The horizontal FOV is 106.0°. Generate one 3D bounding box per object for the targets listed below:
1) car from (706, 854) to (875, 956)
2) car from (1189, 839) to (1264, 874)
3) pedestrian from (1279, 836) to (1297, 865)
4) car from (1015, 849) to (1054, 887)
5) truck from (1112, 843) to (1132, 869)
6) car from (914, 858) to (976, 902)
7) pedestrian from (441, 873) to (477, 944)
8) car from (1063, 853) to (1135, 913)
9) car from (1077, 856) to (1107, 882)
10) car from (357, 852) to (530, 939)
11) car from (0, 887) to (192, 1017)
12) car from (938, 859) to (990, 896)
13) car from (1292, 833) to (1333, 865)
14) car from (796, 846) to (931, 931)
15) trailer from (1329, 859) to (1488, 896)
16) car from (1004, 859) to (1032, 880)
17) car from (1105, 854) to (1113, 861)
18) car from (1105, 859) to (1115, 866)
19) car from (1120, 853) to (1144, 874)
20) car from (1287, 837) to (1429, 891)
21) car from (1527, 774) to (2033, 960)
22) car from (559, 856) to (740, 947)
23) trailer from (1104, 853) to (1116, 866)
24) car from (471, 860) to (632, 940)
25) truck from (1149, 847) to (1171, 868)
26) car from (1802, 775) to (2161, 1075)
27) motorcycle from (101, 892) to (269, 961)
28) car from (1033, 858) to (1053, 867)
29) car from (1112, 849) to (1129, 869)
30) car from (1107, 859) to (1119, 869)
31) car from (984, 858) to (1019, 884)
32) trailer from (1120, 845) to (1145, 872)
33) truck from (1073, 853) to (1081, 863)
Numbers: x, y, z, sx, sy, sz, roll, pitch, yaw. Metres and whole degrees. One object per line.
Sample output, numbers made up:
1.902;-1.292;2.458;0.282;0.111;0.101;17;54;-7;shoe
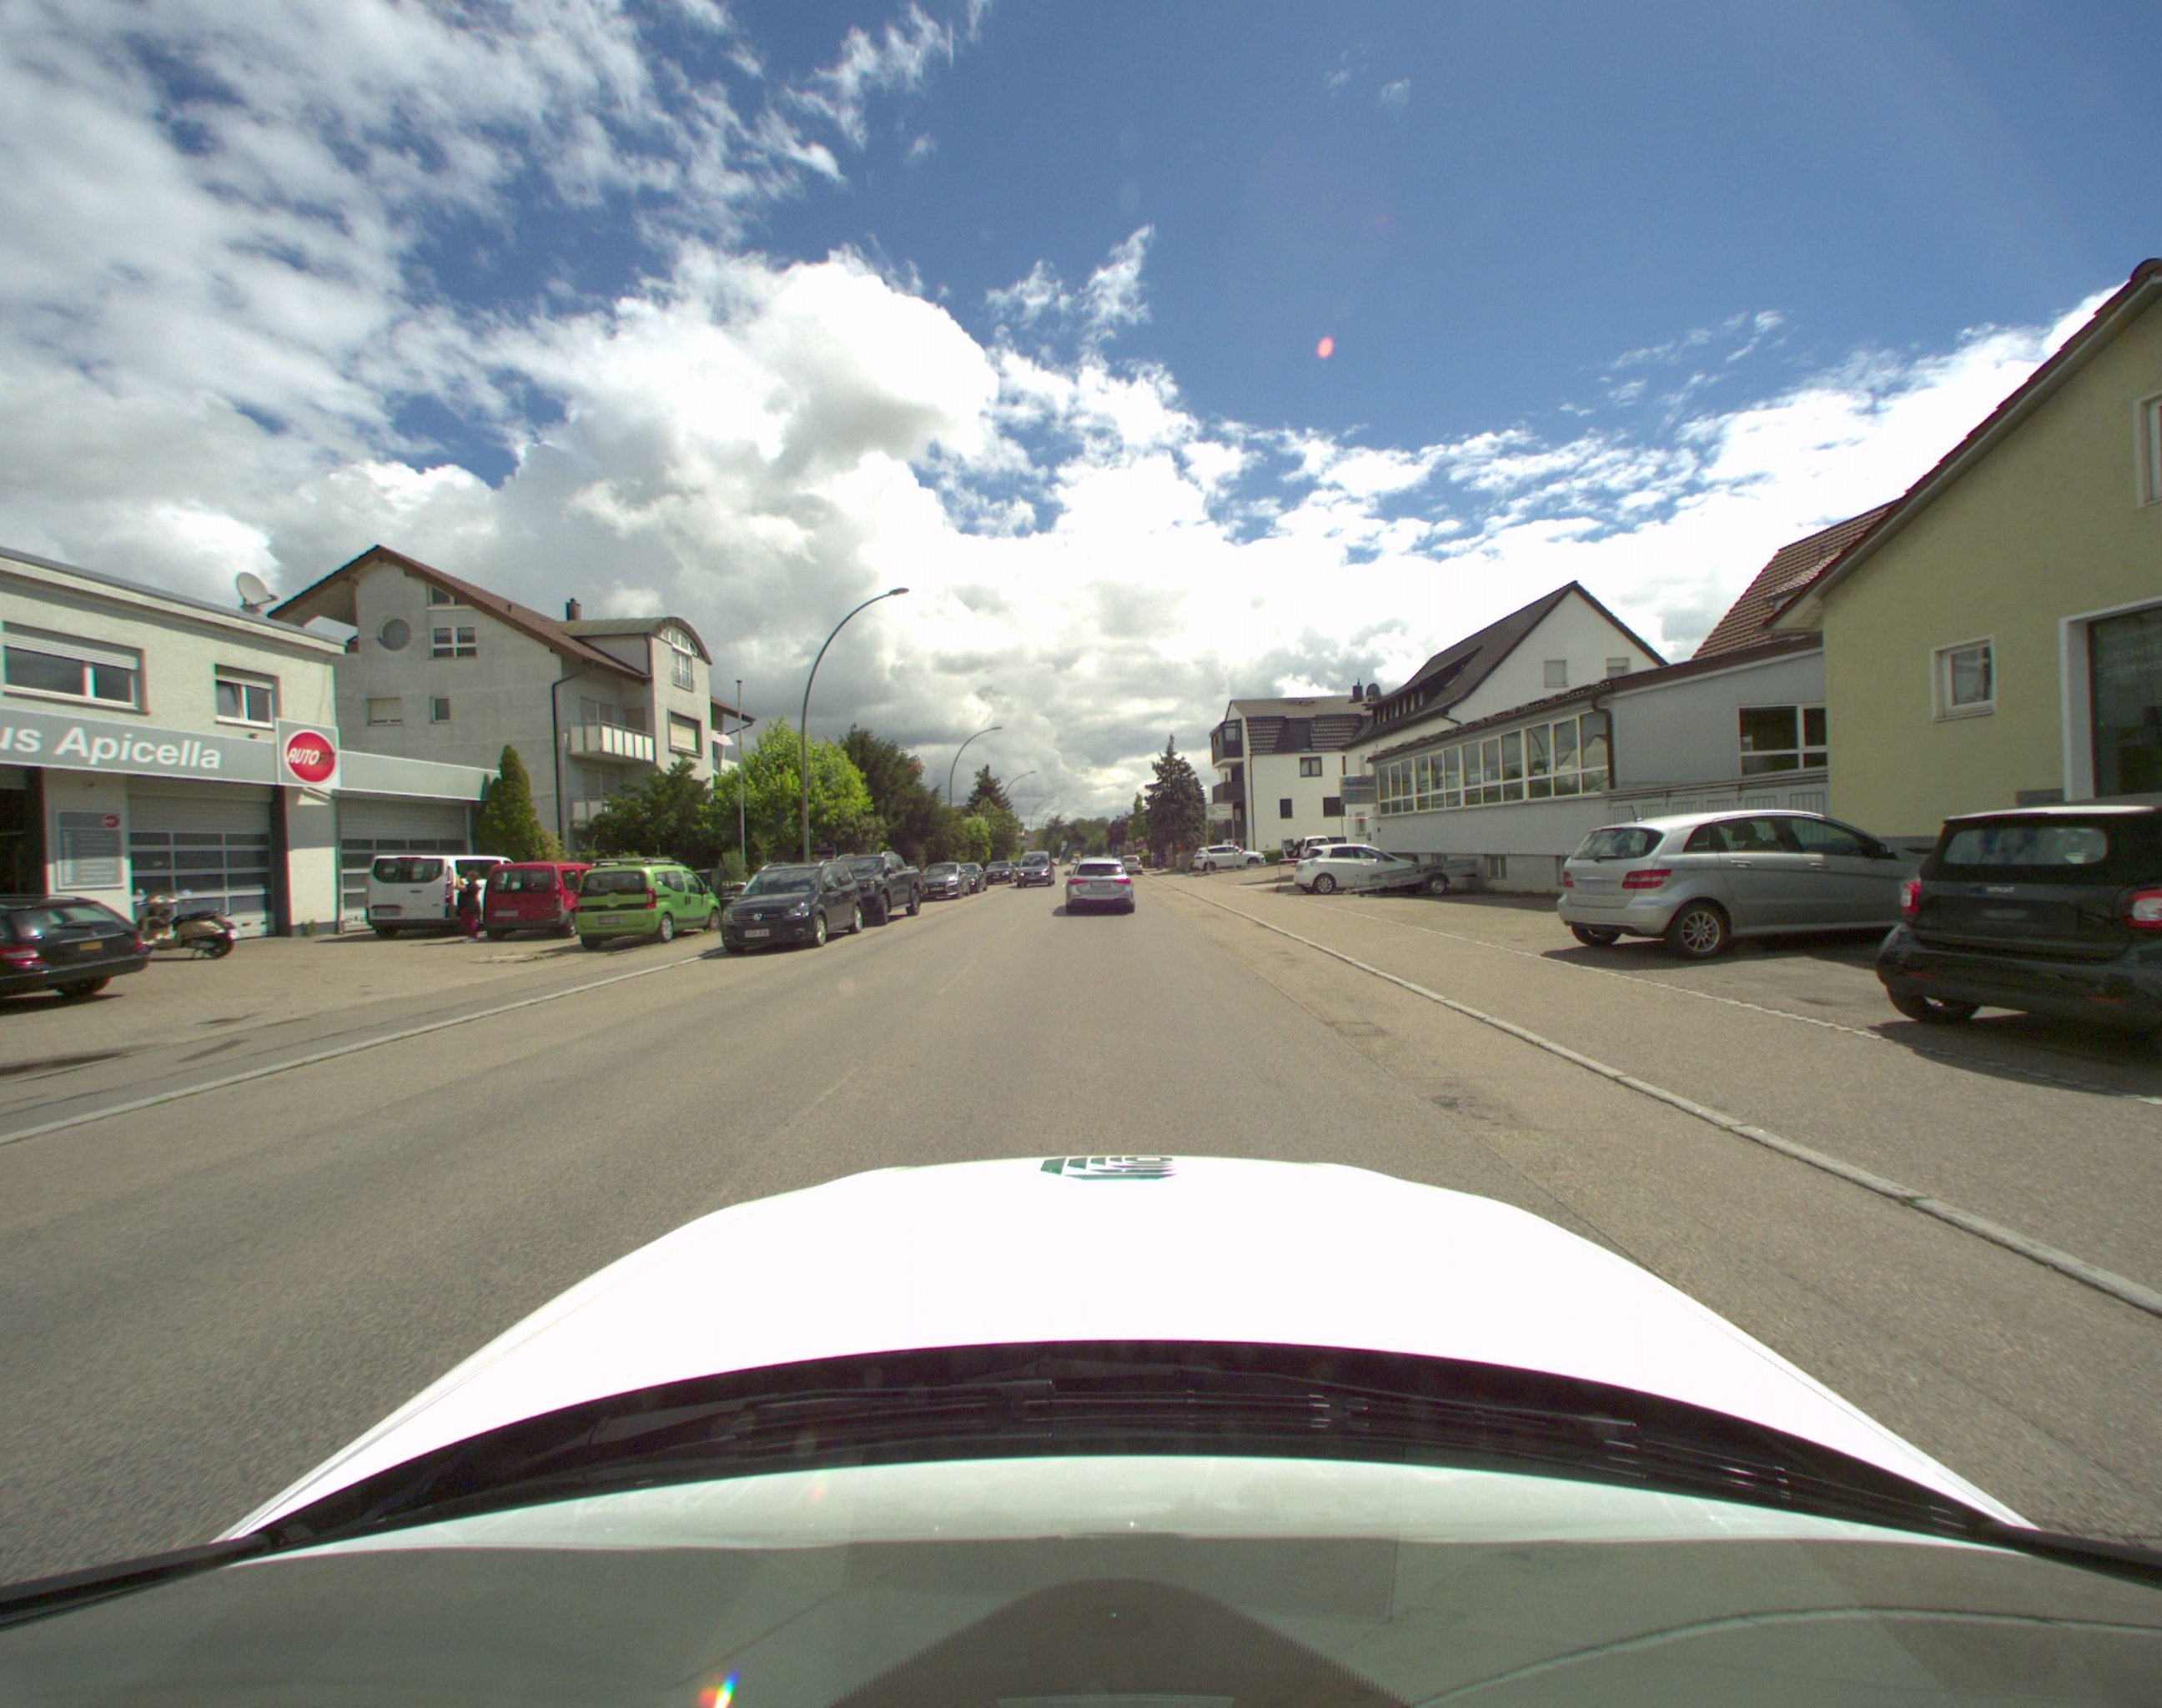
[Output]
-5.694;0.901;16.632;1.657;1.680;4.527;-4;0;1;car
8.816;0.137;49.588;4.178;1.654;1.867;-6;0;0;car
11.473;-0.190;45.229;0.760;1.528;0.782;-5;-1;6;pedestrian
-2.395;0.678;42.660;1.657;1.796;4.337;-3;0;0;car
4.982;0.229;99.584;2.312;3.097;6.044;-1;0;1;truck
-5.475;0.999;33.235;1.657;1.511;3.945;-5;0;1;car
-13.774;1.197;18.052;0.411;1.558;0.493;0;0;0;pedestrian
0.432;0.735;22.575;1.779;1.484;4.315;-1;0;-1;car
0.692;0.927;51.653;1.750;1.558;4.000;-2;0;0;car
-16.300;1.020;21.132;1.878;1.980;4.317;-1;-1;-14;car
-15.435;1.331;11.001;4.390;1.492;1.973;-2;1;-4;car
-5.378;1.051;37.935;1.657;1.435;4.339;-5;0;1;car
12.657;-0.284;44.699;1.622;1.518;3.673;-6;1;8;car
-5.632;0.804;21.937;1.904;1.821;5.430;-6;0;1;car
9.176;0.638;23.003;3.805;0.808;1.656;-3;0;-1;trailer
-4.658;1.125;60.921;1.714;1.432;4.198;-4;0;-1;car
8.456;1.089;246.161;2.136;1.984;5.263;-3;0;2;car
6.660;1.914;187.371;1.787;1.450;4.361;-3;0;-1;car
3.925;0.734;63.206;1.712;1.432;3.987;-4;0;3;car
8.679;0.315;25.757;3.887;1.608;1.749;-1;0;-1;car
8.138;0.128;9.804;4.396;1.608;1.973;-5;0;-3;car
-9.650;0.968;18.662;1.786;1.785;4.338;-2;0;0;car
5.441;0.982;151.329;1.935;2.294;4.445;-3;-1;0;trailer
-13.170;1.077;20.618;1.792;1.785;4.323;0;-1;-10;car
8.971;0.316;92.401;1.823;2.081;5.386;-5;1;0;truck
7.049;0.279;5.310;2.881;1.525;1.973;-5;0;-2;car
-17.042;1.355;15.530;2.192;1.229;0.846;0;0;-2;motorcycle
-8.771;1.930;187.797;4.615;1.632;2.196;-5;0;-3;car
4.562;0.584;93.999;1.866;2.169;4.466;-1;0;2;car
5.559;1.633;139.872;1.933;1.571;4.449;-3;0;3;car
-4.968;1.045;51.338;1.657;1.414;4.339;-4;0;1;car
4.329;0.401;69.044;1.767;2.145;4.114;-3;0;1;trailer
-1.150;1.297;244.371;2.067;2.814;7.082;-3;0;2;truck
